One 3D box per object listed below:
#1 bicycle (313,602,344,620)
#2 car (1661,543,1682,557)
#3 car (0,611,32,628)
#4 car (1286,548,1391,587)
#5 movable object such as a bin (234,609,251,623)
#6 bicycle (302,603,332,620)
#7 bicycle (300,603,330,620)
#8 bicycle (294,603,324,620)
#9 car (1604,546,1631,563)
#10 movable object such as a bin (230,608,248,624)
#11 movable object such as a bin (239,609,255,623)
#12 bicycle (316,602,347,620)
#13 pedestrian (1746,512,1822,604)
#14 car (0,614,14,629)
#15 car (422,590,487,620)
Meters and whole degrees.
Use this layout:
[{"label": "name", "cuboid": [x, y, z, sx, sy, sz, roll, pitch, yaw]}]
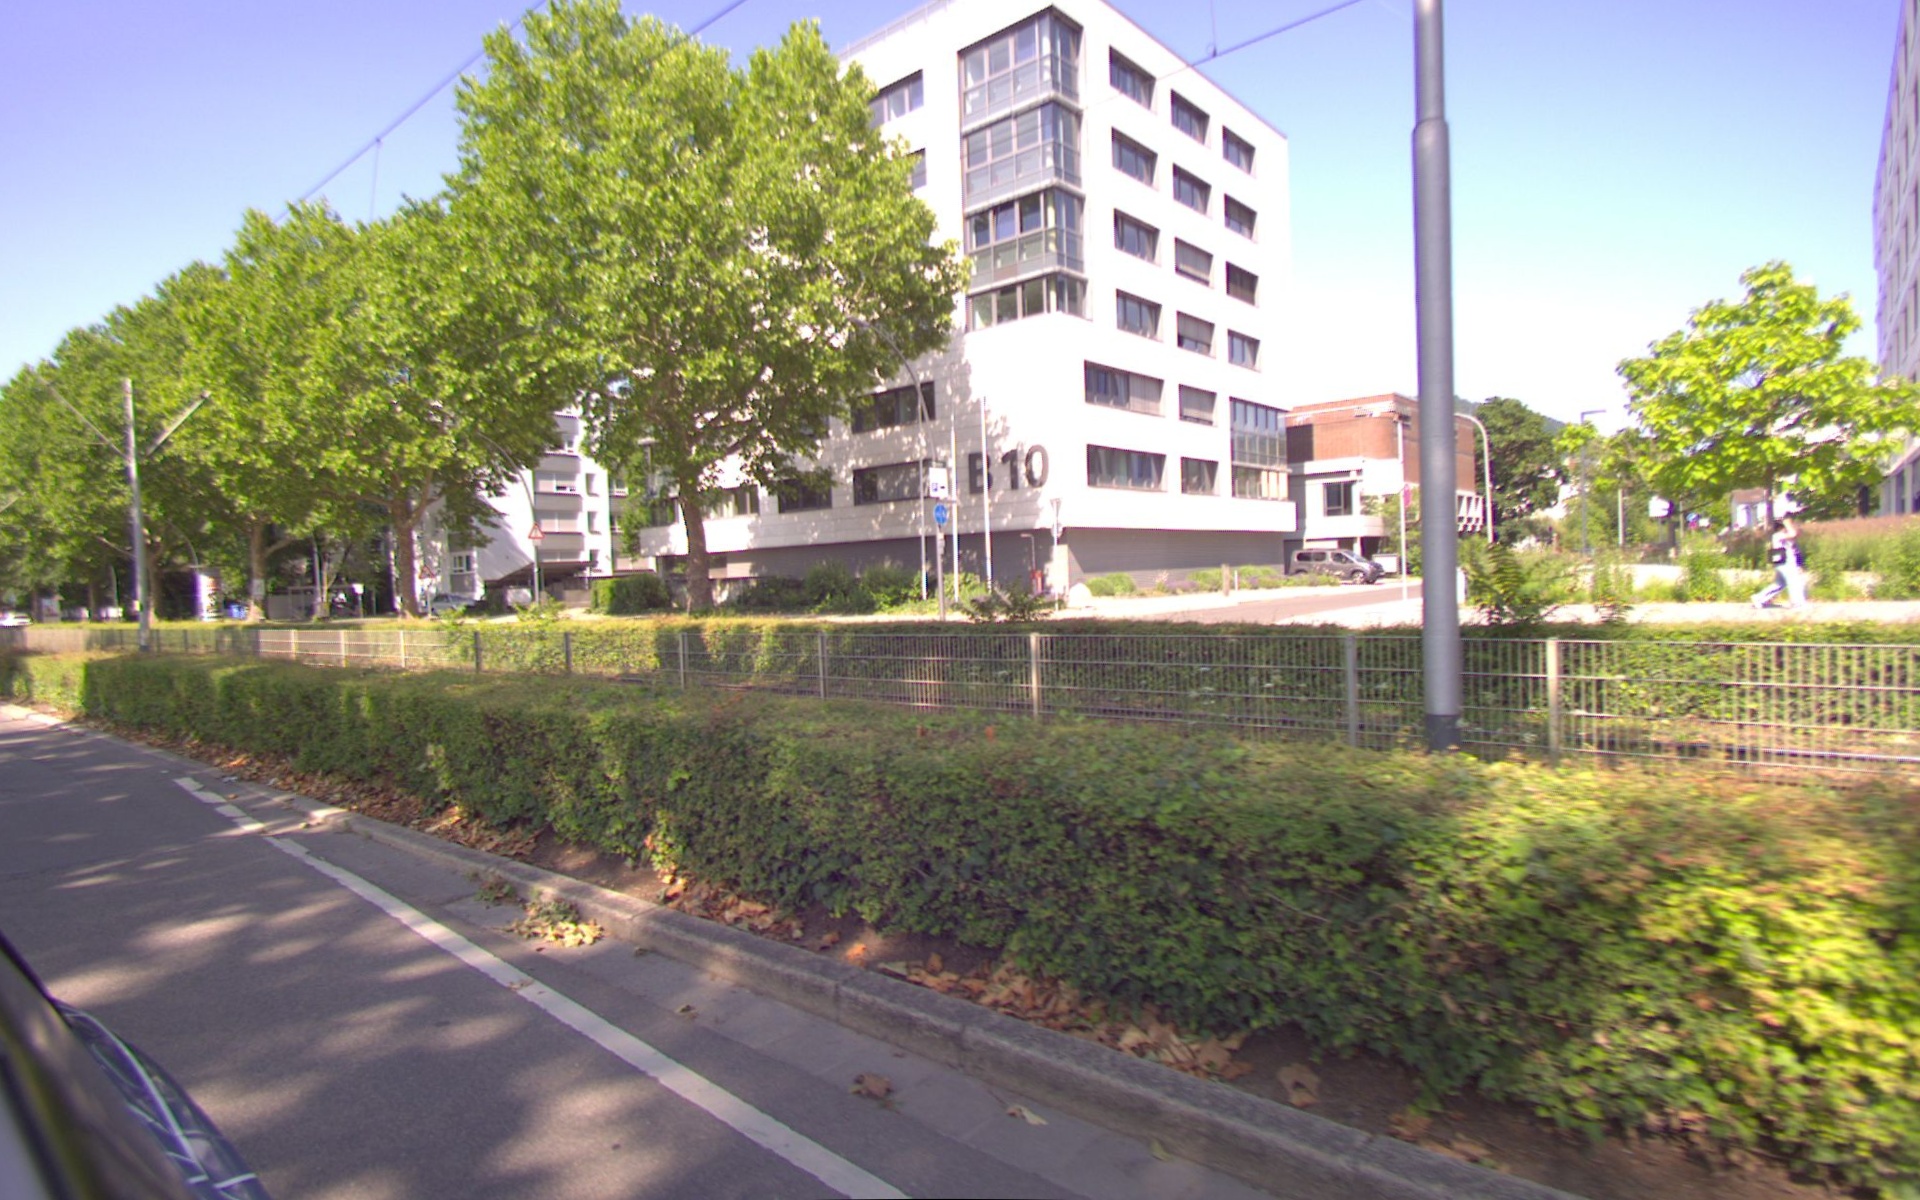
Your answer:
[{"label": "bicycle", "cuboid": [-44.821, 0.777, 71.854, 0.421, 1.111, 1.749, -2, 2, 38]}, {"label": "car", "cuboid": [88.440, -6.249, 125.774, 1.732, 1.546, 3.804, -1, 2, 41]}, {"label": "car", "cuboid": [-87.811, 1.798, 93.993, 3.908, 1.502, 1.797, -2, -1, 39]}, {"label": "car", "cuboid": [19.514, -1.664, 52.281, 4.615, 1.828, 1.973, -1, 2, 41]}, {"label": "movable object such as a bin", "cuboid": [-56.067, 1.262, 79.075, 0.545, 1.044, 0.887, -2, 2, 39]}, {"label": "bicycle", "cuboid": [-46.362, 0.817, 72.939, 0.421, 1.111, 1.749, -2, 2, 38]}, {"label": "bicycle", "cuboid": [-46.698, 0.824, 73.258, 0.421, 1.111, 1.749, -2, 2, 38]}, {"label": "bicycle", "cuboid": [-47.535, 0.843, 73.948, 0.421, 1.111, 1.749, -2, 2, 38]}, {"label": "car", "cuboid": [64.723, -4.474, 99.552, 1.732, 1.546, 3.849, -1, 2, 41]}, {"label": "movable object such as a bin", "cuboid": [-56.739, 1.264, 79.632, 1.098, 1.197, 0.887, -2, 2, 39]}, {"label": "movable object such as a bin", "cuboid": [-55.179, 1.243, 78.311, 0.545, 1.044, 0.887, -2, 2, 39]}, {"label": "bicycle", "cuboid": [-44.431, 0.768, 71.545, 0.421, 1.111, 1.749, -2, 2, 38]}, {"label": "pedestrian", "cuboid": [14.784, -0.745, 18.158, 1.014, 1.600, 0.713, -1, 2, 41]}, {"label": "car", "cuboid": [-100.086, 2.316, 105.323, 3.996, 1.464, 1.834, -2, 2, 39]}, {"label": "car", "cuboid": [-29.607, 0.320, 59.216, 4.344, 1.561, 1.725, -2, 2, 39]}]
